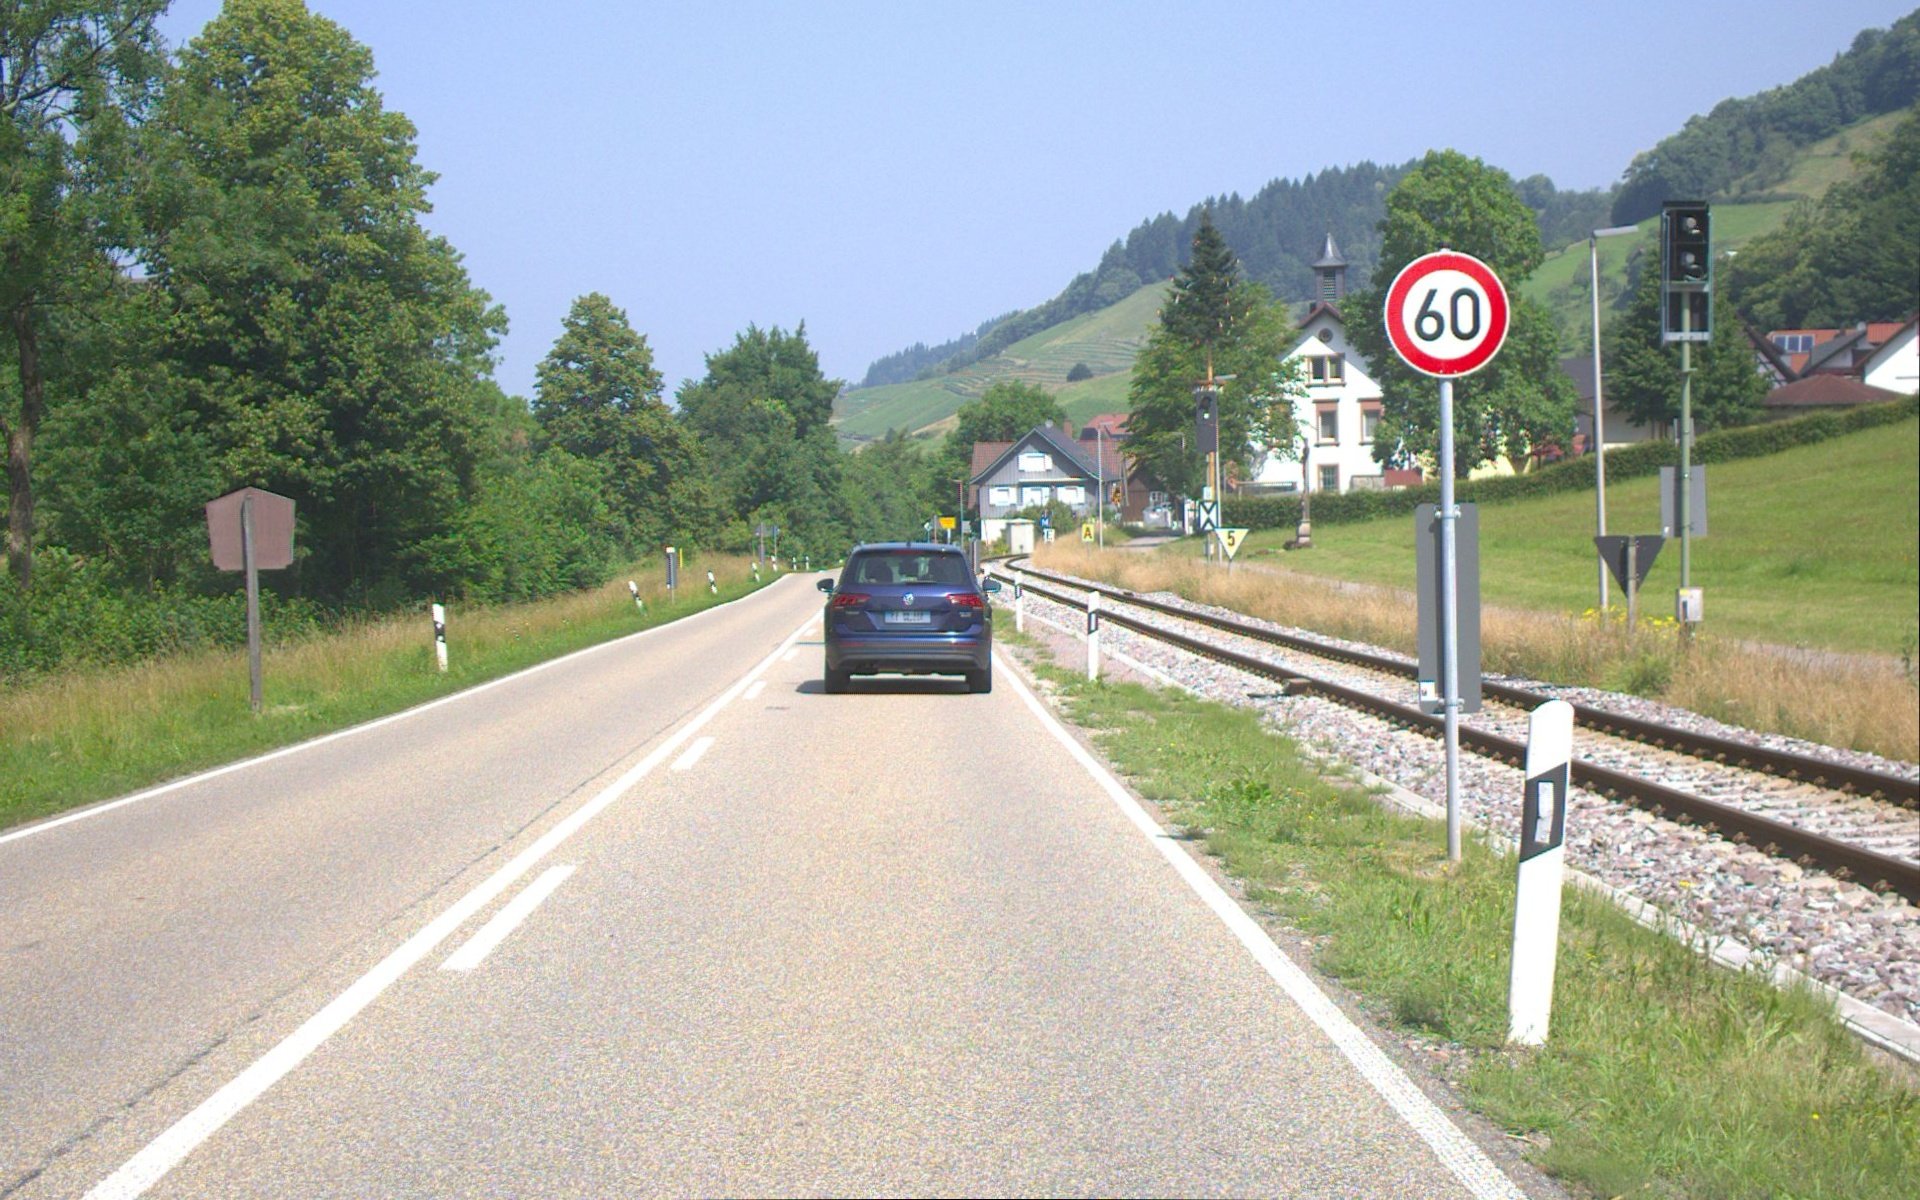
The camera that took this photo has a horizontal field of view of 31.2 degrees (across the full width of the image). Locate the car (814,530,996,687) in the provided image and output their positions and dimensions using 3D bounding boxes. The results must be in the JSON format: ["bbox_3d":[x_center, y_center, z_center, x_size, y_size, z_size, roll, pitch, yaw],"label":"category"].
[{"bbox_3d":[-0.556,0.048,38.152,1.852,1.643,4.140,0,1,1],"label":"car"}]
